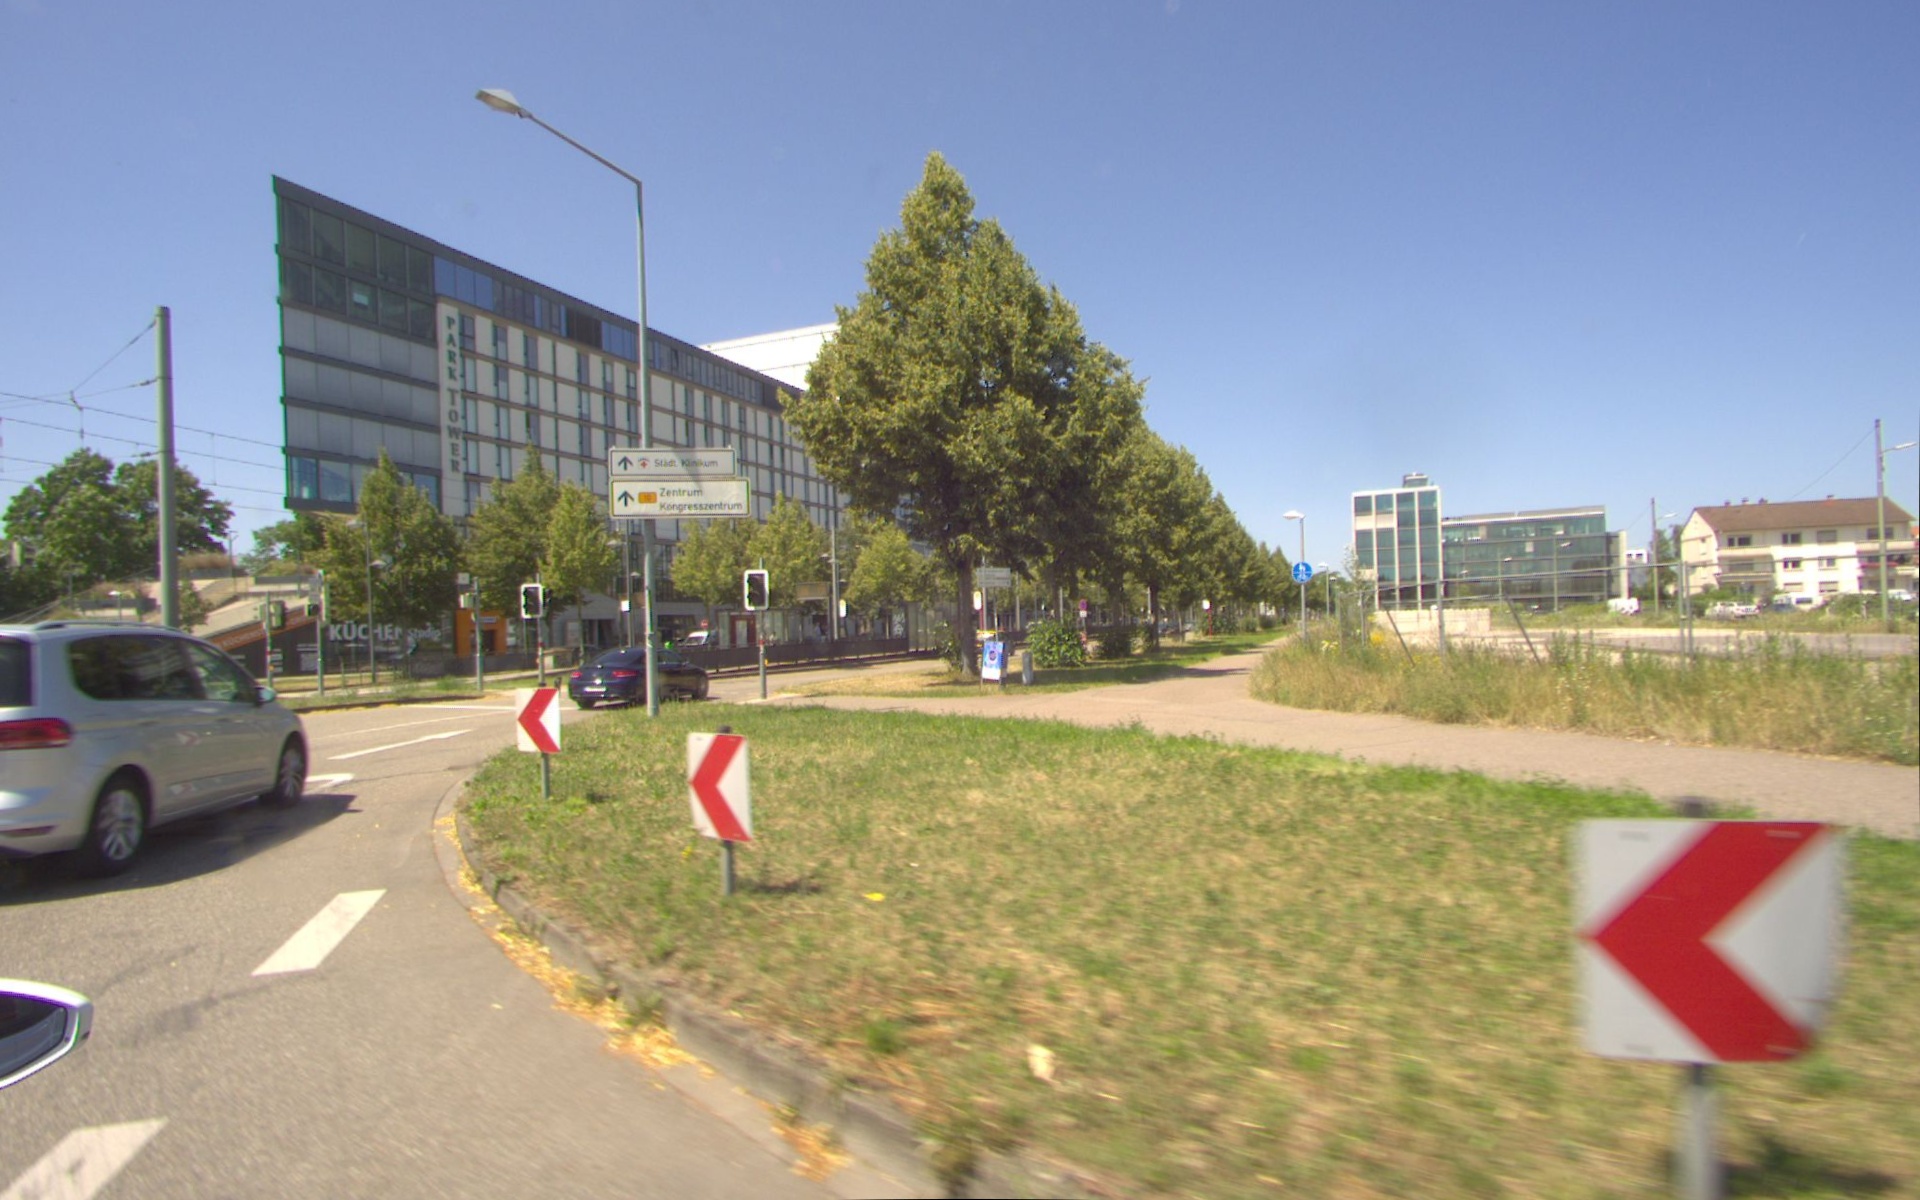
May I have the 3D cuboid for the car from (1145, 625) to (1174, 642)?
[{"bbox_3d":[18.842,3.187,94.505,1.966,1.467,4.642,-2,-3,20],"label":"car"}]

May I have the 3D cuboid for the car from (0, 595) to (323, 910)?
[{"bbox_3d":[-6.496,0.889,7.323,1.774,1.669,4.600,0,-2,-15],"label":"car"}]

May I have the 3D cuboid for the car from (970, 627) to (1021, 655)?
[{"bbox_3d":[2.043,2.316,56.754,1.597,1.469,3.978,-2,-3,23],"label":"car"}]

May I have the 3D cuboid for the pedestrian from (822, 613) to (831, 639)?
[{"bbox_3d":[-9.048,1.757,67.862,0.403,1.774,0.585,-2,-1,19],"label":"pedestrian"}]

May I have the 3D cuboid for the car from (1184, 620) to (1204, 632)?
[{"bbox_3d":[30.166,3.377,129.165,1.825,1.467,4.343,-2,-3,21],"label":"car"}]

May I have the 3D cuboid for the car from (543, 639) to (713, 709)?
[{"bbox_3d":[-7.711,1.684,23.865,1.822,1.454,4.956,-1,-2,8],"label":"car"}]

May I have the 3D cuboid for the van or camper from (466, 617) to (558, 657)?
[{"bbox_3d":[-34.022,2.785,76.357,2.342,2.858,6.775,-2,-2,20],"label":"van or camper"}]

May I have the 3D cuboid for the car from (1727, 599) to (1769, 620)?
[{"bbox_3d":[69.003,0.832,87.736,1.651,1.605,3.617,-3,-3,19],"label":"car"}]

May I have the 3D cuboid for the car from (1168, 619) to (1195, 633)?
[{"bbox_3d":[25.704,3.039,116.117,1.968,1.467,4.745,-2,-3,25],"label":"car"}]
